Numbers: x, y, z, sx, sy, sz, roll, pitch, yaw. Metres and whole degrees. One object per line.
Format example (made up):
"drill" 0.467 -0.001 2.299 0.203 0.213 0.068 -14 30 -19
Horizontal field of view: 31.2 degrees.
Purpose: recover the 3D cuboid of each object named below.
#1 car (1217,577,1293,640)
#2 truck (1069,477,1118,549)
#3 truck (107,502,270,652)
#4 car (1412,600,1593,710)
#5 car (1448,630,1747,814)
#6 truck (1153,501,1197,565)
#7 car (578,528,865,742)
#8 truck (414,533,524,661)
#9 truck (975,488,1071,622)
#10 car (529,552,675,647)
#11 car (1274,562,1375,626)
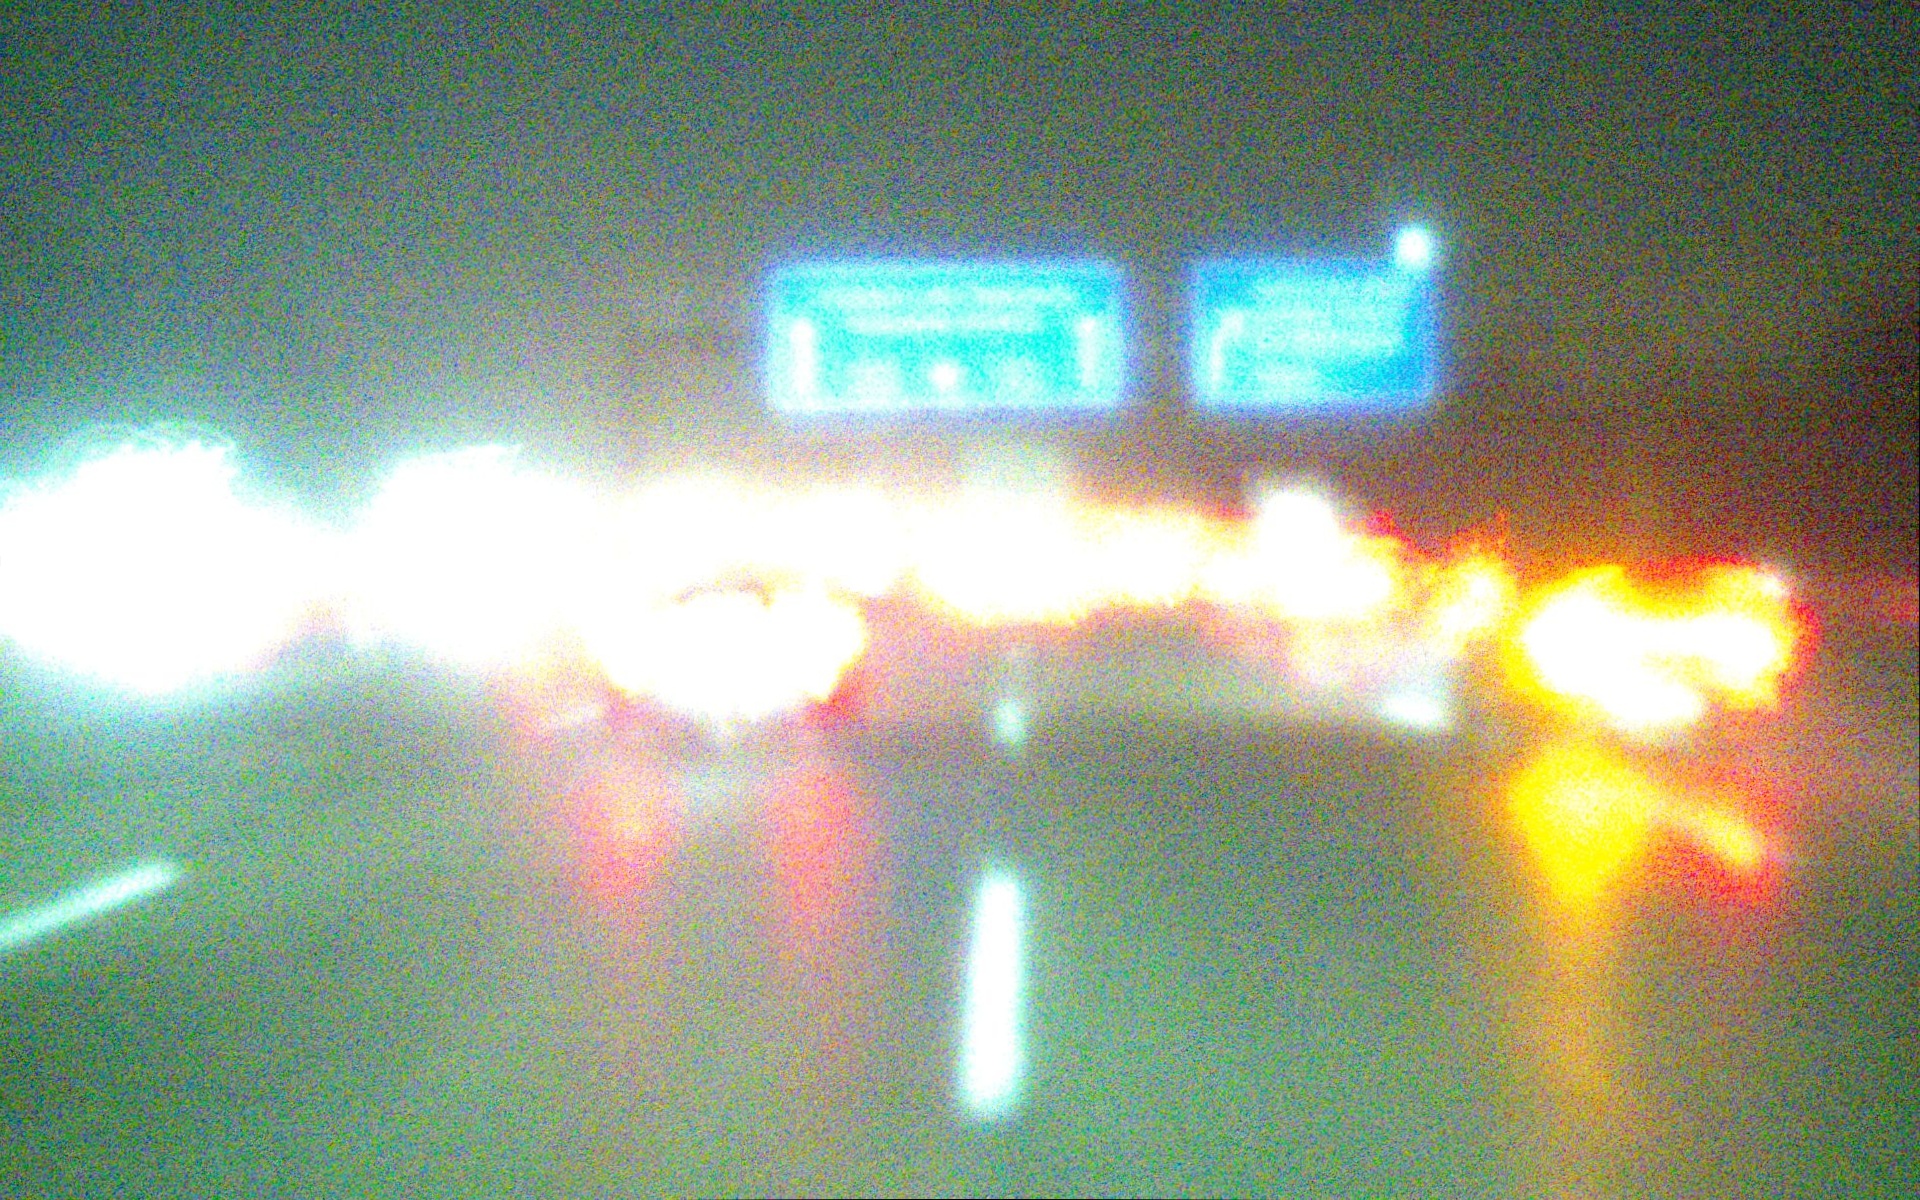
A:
"car" 7.955 0.205 92.970 1.863 1.612 4.000 1 1 3
"truck" 6.035 -3.889 154.957 1.994 3.032 6.464 -2 0 3
"truck" -20.418 -0.591 91.289 2.696 3.747 6.454 -2 0 0
"car" 6.604 0.652 42.075 1.580 1.242 3.069 1 1 -3
"car" 4.821 0.898 26.353 1.580 1.242 3.069 1 1 -3
"truck" 10.807 -3.351 172.995 1.994 3.032 6.464 -2 0 3
"car" -1.724 0.202 26.063 1.802 1.482 4.000 1 1 1
"truck" -19.522 -0.134 137.084 2.923 4.833 7.577 -2 0 2
"truck" 1.559 -1.049 82.730 1.994 3.032 6.464 -2 0 3
"car" -5.057 -0.009 48.929 1.662 1.232 3.761 -2 0 0
"car" 7.409 -0.130 70.070 1.580 1.242 3.069 1 1 -3
